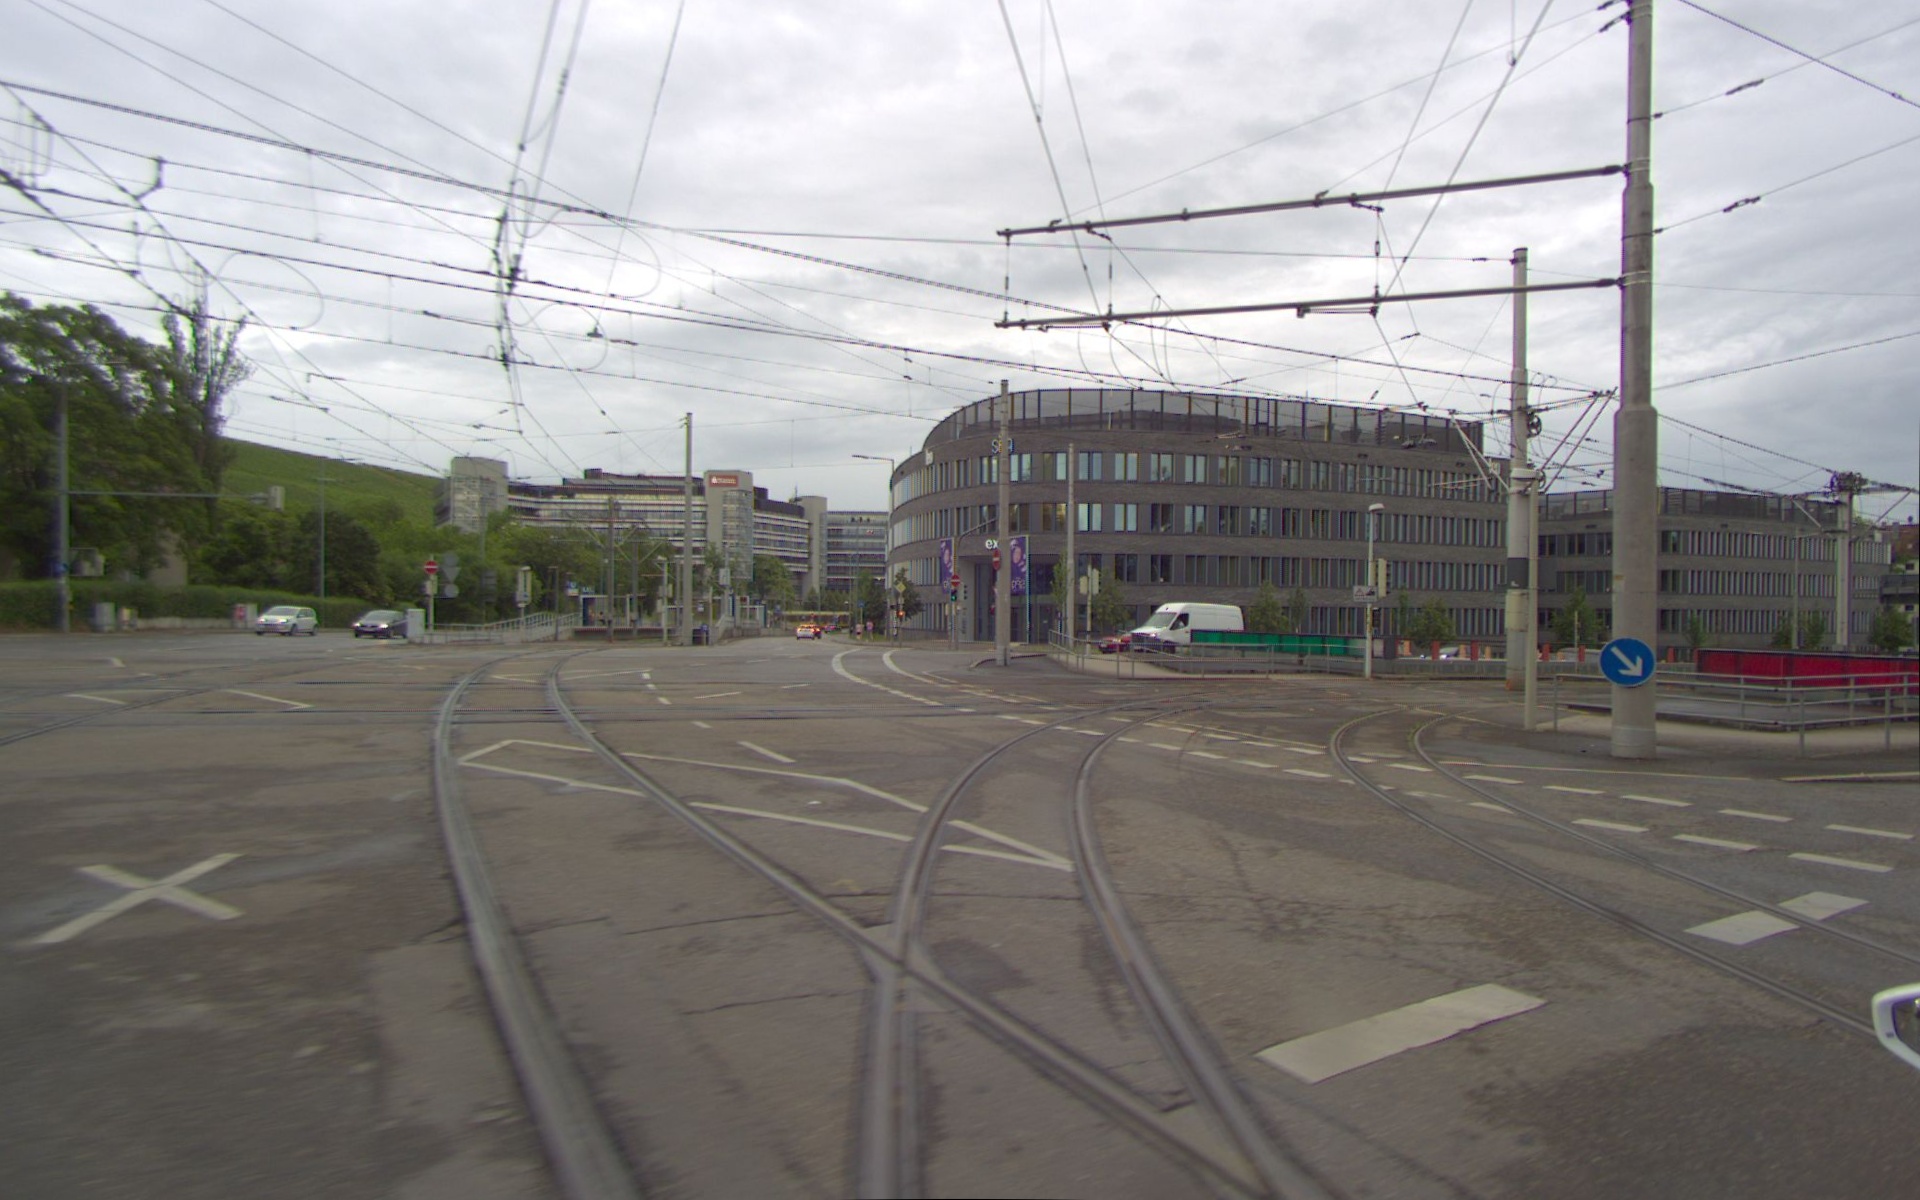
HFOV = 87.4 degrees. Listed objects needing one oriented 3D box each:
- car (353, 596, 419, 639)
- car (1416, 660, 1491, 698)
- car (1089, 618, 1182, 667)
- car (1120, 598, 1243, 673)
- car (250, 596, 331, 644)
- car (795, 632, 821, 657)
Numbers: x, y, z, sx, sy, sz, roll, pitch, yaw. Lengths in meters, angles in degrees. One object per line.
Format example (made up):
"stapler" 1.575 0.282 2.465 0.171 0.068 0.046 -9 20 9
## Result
"car" -30.756 0.969 53.933 1.967 2.039 3.989 4 -4 -15
"car" 27.700 4.419 56.367 3.787 1.604 1.818 10 -5 -27
"car" 8.747 2.127 49.926 4.198 2.180 1.985 5 -4 -29
"car" 10.360 1.734 46.893 5.652 2.866 1.985 8 -7 -29
"car" -33.929 1.082 51.005 1.968 2.038 3.989 8 -5 -15
"car" -14.689 4.373 97.431 1.963 2.038 3.999 7 -5 -4
